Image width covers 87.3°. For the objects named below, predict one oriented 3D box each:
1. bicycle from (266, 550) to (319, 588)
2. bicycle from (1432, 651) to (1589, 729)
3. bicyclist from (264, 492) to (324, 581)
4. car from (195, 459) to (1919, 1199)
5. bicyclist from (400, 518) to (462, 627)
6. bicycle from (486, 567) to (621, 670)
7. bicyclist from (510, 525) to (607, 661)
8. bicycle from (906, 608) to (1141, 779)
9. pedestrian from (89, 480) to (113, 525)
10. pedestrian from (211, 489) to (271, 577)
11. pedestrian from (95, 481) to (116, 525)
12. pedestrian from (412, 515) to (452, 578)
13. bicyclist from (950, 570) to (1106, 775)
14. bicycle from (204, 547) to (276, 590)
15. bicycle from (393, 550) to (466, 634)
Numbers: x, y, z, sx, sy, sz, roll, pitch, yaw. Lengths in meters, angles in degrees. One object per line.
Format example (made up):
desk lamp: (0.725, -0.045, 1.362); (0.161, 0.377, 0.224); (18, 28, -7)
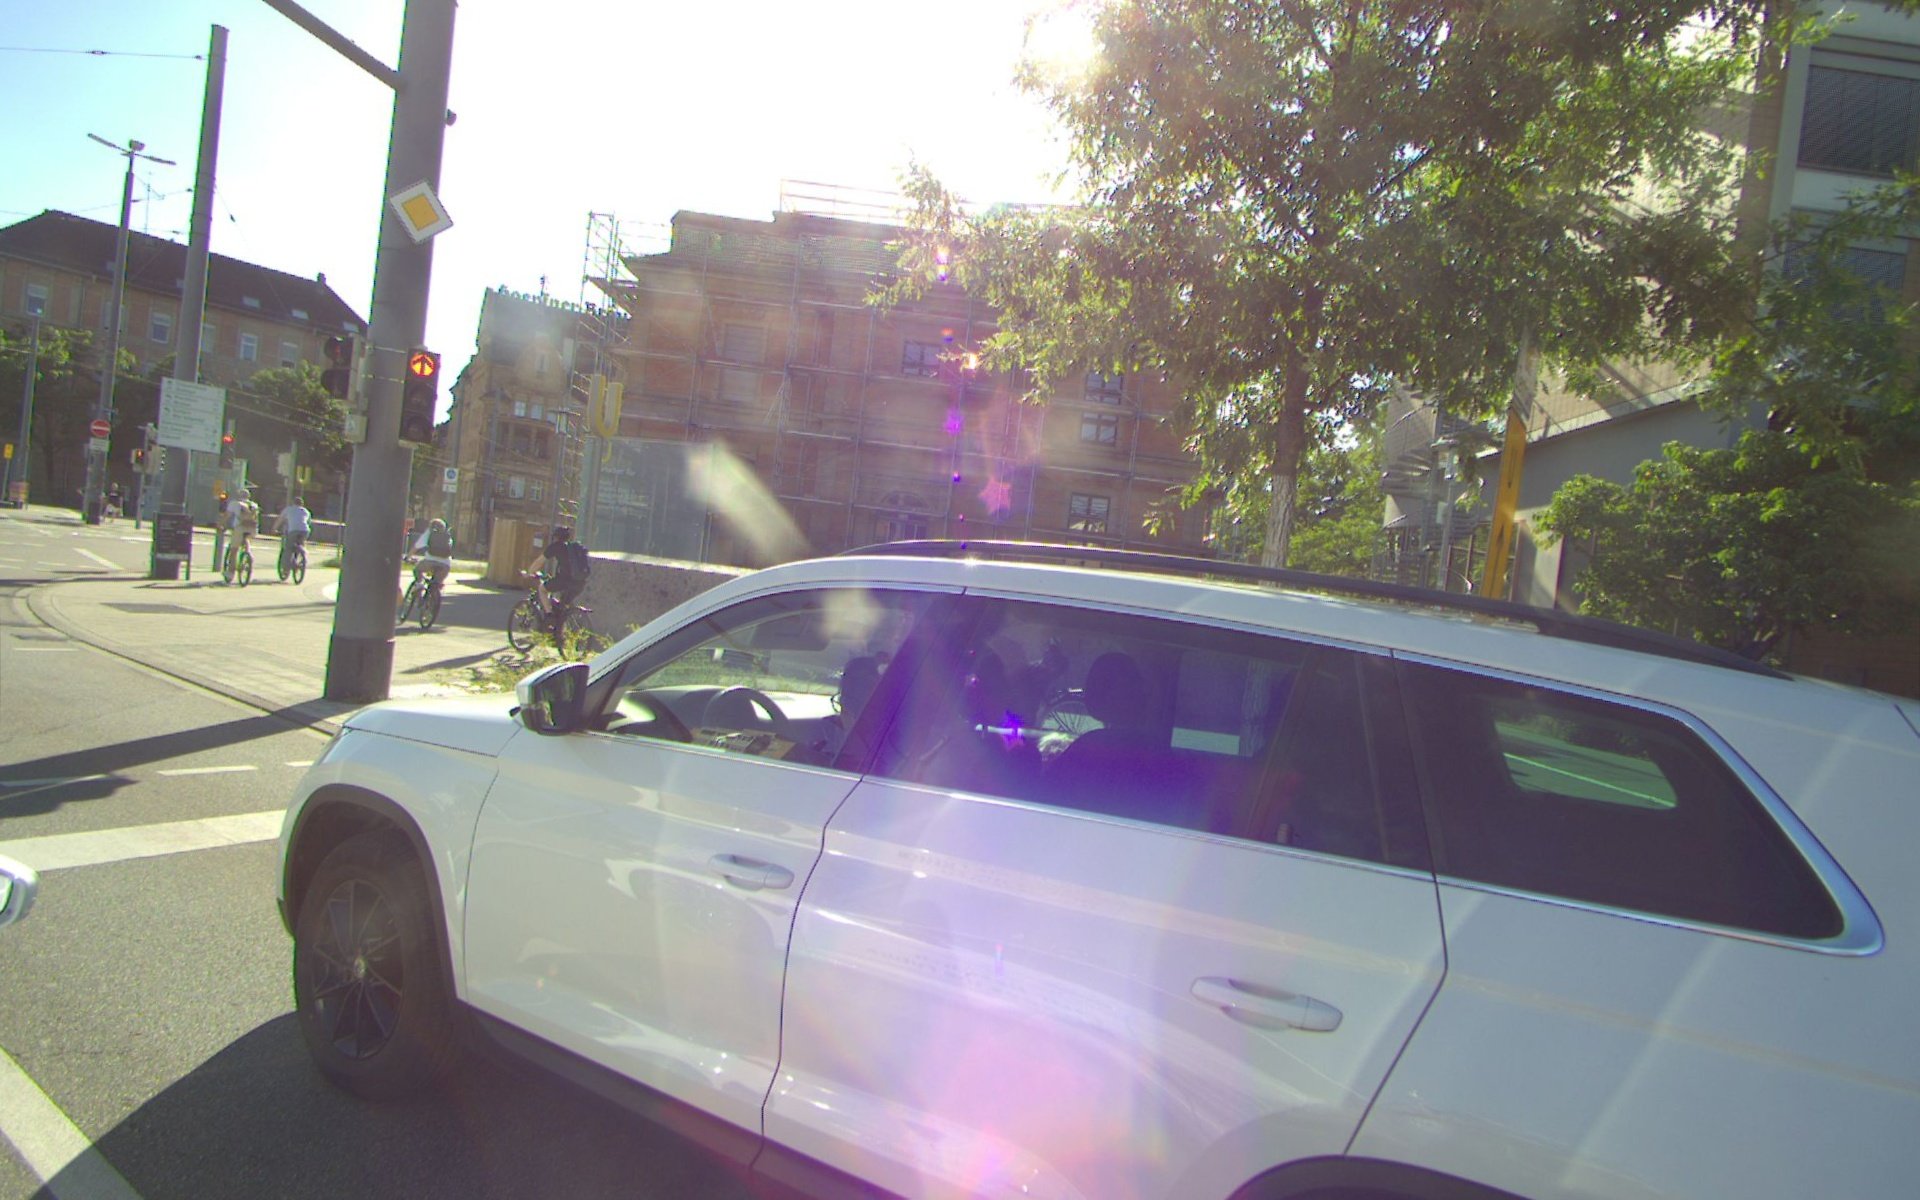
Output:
bicycle: (-14.517, -0.678, 21.872); (1.446, 0.664, 0.536); (7, 2, 39)
bicycle: (13.083, 2.129, 23.998); (3.079, 1.395, 0.798); (7, 1, 8)
bicyclist: (-14.482, -1.380, 21.872); (0.910, 1.802, 0.746); (8, 2, 39)
car: (0.010, 0.683, 2.687); (4.224, 1.662, 1.697); (7, 0, 30)
bicyclist: (-8.212, -0.432, 15.593); (0.569, 1.590, 0.935); (2, 4, -42)
bicycle: (-5.383, 0.220, 13.272); (1.820, 1.129, 0.625); (7, 3, 31)
bicyclist: (-5.275, -0.091, 13.207); (0.978, 1.660, 0.625); (7, 3, 31)
bicycle: (0.529, 0.782, 8.861); (1.853, 1.178, 0.686); (7, 0, 34)
pedestrian: (-41.042, -4.656, 48.049); (0.443, 2.039, 0.574); (7, 1, 14)
pedestrian: (-14.007, -1.304, 19.592); (0.844, 1.582, 0.549); (7, 1, 31)
pedestrian: (-41.388, -4.709, 48.738); (0.443, 2.039, 0.462); (7, 2, 14)
pedestrian: (-16.861, -1.697, 32.158); (0.887, 1.883, 0.922); (6, 1, -23)
bicyclist: (0.595, 0.620, 8.821); (0.961, 1.618, 0.685); (8, 0, 34)
bicycle: (-14.113, -0.618, 19.709); (1.697, 0.664, 0.537); (7, 3, 32)
bicycle: (-8.276, -0.147, 15.664); (0.569, 1.140, 1.719); (3, 4, -41)
